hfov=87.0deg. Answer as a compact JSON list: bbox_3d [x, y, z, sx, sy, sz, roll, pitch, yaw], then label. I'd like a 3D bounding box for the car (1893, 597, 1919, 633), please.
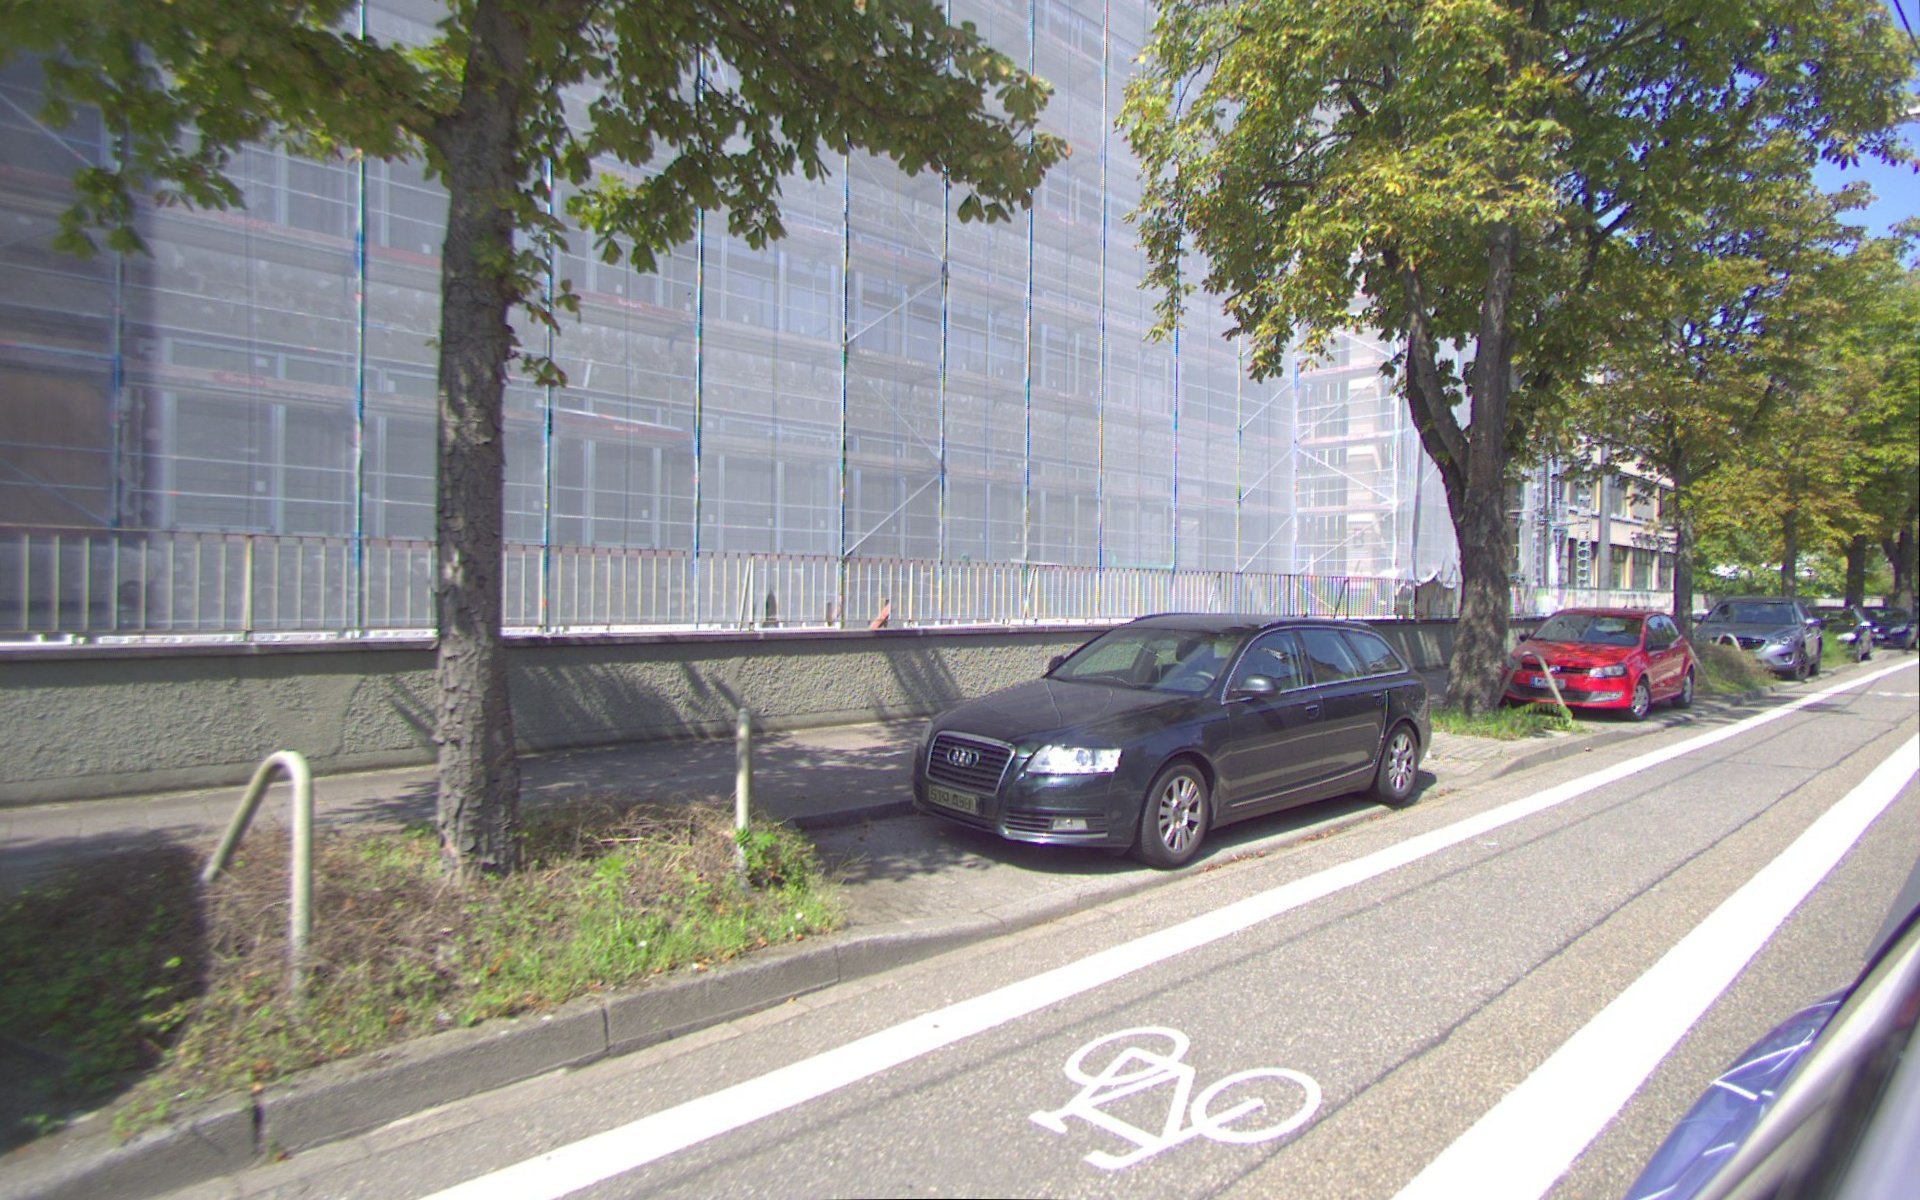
[{"bbox_3d":[42.074,0.650,44.143,3.926,1.491,1.641,0,3,-43],"label":"car"}]

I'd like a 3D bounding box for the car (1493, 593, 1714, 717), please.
[{"bbox_3d":[9.296,0.668,14.491,4.061,1.519,1.687,0,0,-42],"label":"car"}]

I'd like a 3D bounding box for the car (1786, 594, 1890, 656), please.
[{"bbox_3d":[24.526,0.651,28.220,3.930,1.590,1.688,0,0,-41],"label":"car"}]

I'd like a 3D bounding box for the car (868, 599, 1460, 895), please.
[{"bbox_3d":[1.739,0.731,7.269,4.720,1.458,1.688,0,0,-42],"label":"car"}]

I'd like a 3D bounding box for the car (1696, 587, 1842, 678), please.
[{"bbox_3d":[17.065,0.618,21.272,4.570,1.710,1.764,0,0,-43],"label":"car"}]

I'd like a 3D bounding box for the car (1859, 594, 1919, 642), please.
[{"bbox_3d":[33.753,0.643,36.363,4.011,1.590,1.644,2,1,-41],"label":"car"}]
